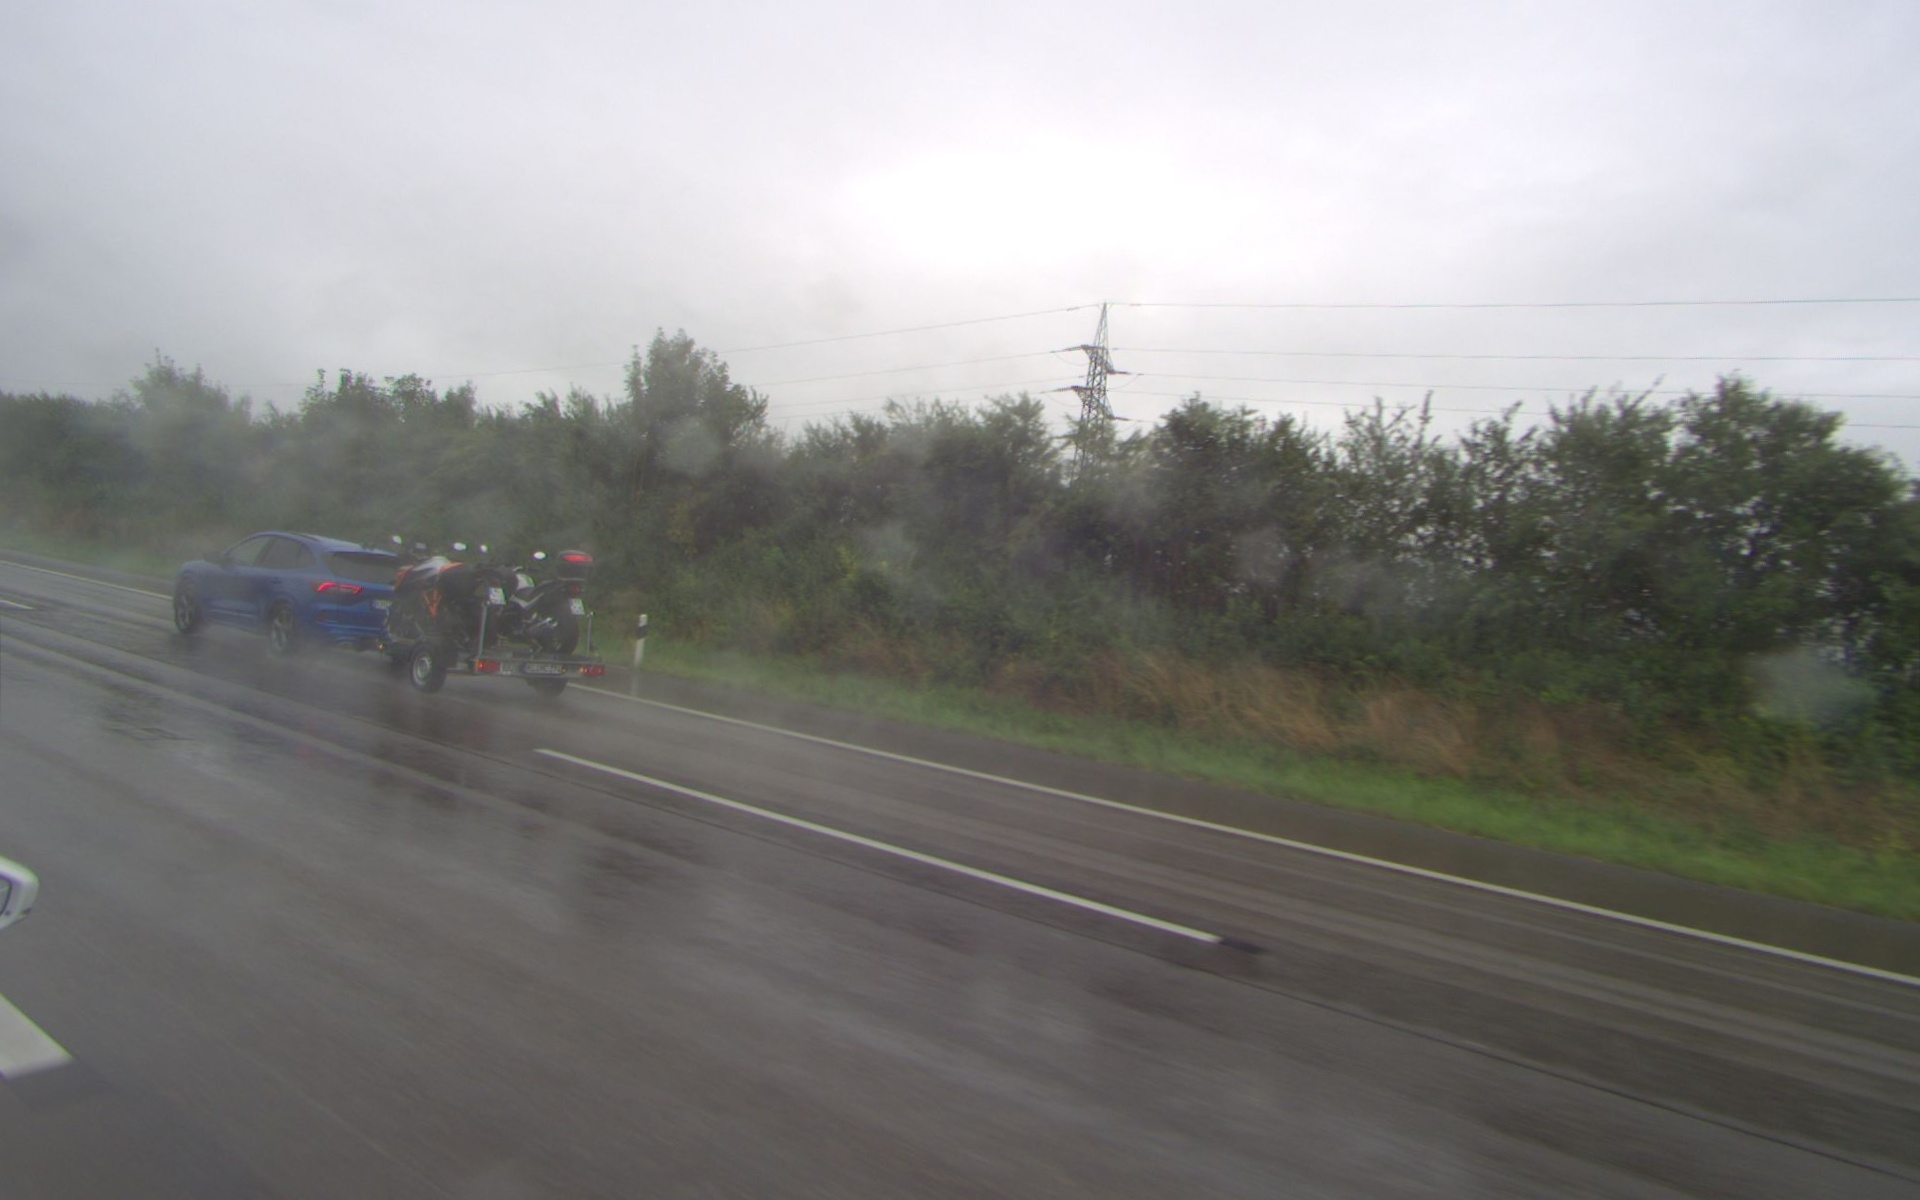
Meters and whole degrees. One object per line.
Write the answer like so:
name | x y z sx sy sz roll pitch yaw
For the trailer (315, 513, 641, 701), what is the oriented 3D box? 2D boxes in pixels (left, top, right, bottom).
trailer | -5.773 0.087 12.073 3.136 1.805 1.983 6 -2 31

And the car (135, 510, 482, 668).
car | -9.260 -0.182 14.197 4.908 1.638 1.998 6 -2 30
